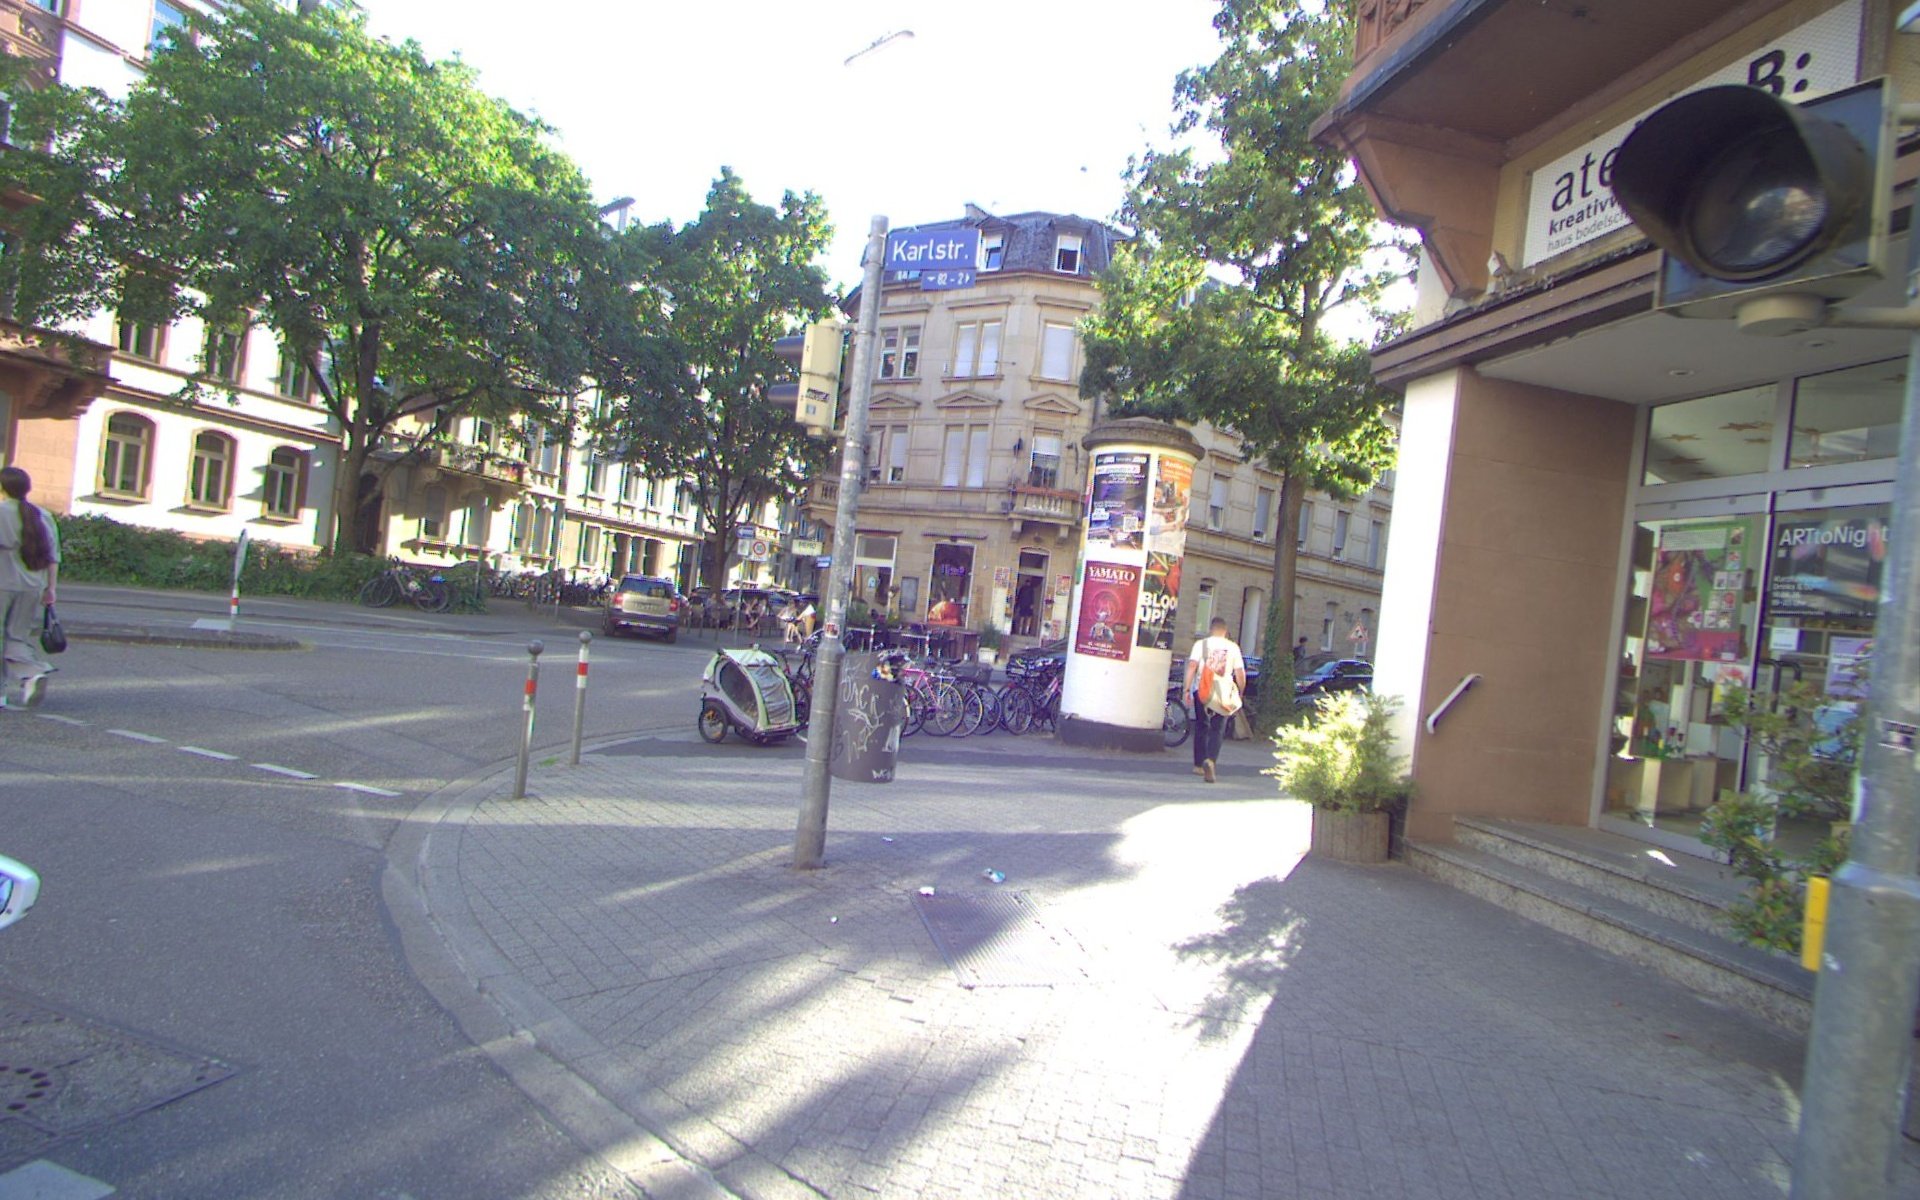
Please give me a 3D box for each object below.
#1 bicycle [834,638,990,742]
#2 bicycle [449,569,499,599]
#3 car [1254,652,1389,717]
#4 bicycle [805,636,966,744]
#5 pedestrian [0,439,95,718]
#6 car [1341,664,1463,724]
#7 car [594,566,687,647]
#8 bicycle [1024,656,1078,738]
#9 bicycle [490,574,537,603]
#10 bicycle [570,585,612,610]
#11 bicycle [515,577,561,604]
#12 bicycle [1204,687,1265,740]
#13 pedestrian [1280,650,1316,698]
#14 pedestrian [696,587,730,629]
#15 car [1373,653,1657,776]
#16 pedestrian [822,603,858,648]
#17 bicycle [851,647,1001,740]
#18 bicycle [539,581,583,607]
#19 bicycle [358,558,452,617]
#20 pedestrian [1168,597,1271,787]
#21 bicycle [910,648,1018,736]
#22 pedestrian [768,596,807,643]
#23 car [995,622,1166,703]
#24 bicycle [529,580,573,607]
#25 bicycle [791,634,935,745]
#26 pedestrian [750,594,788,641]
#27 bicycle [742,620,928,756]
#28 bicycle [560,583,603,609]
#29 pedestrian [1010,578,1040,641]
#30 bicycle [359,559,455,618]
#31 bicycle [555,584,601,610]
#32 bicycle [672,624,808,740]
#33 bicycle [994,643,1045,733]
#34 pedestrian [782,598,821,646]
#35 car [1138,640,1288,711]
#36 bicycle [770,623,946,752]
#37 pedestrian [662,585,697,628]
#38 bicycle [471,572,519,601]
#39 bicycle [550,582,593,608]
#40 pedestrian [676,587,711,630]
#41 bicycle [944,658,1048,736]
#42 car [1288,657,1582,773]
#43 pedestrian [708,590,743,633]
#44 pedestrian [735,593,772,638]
[{"bbox_3d":[-0.625,1.132,12.907,1.885,1.112,0.450,5,0,21],"label":"bicycle"},{"bbox_3d":[-18.200,-0.587,37.658,1.764,0.904,0.493,6,0,19],"label":"bicycle"},{"bbox_3d":[11.280,2.646,31.352,3.958,1.593,1.789,7,-1,-32],"label":"car"},{"bbox_3d":[-0.928,1.083,12.390,1.885,1.112,0.450,5,0,21],"label":"bicycle"},{"bbox_3d":[-6.836,-0.168,7.249,0.660,1.934,0.690,8,3,37],"label":"pedestrian"},{"bbox_3d":[15.199,3.242,34.541,3.958,1.593,1.789,7,-1,-32],"label":"car"},{"bbox_3d":[-8.538,0.114,26.901,1.972,1.638,3.982,9,0,-18],"label":"car"},{"bbox_3d":[1.354,1.429,15.129,0.442,1.099,1.404,5,-1,-6],"label":"bicycle"},{"bbox_3d":[-17.509,-0.458,39.421,1.764,0.904,0.493,6,0,19],"label":"bicycle"},{"bbox_3d":[-16.254,-0.127,44.280,1.764,0.904,0.493,6,0,19],"label":"bicycle"},{"bbox_3d":[-17.157,-0.375,40.895,1.764,0.904,0.493,6,0,19],"label":"bicycle"},{"bbox_3d":[4.569,1.874,16.723,1.128,0.768,0.394,1,3,-41],"label":"bicycle"},{"bbox_3d":[12.908,2.818,38.436,0.758,1.759,0.906,2,3,-36],"label":"pedestrian"},{"bbox_3d":[-8.992,0.301,36.630,0.907,1.448,0.757,2,3,-41],"label":"pedestrian"},{"bbox_3d":[10.593,2.145,19.452,1.986,1.667,4.264,7,-1,-41],"label":"car"},{"bbox_3d":[-4.038,0.857,33.905,0.759,1.448,0.904,2,3,-43],"label":"pedestrian"},{"bbox_3d":[-0.456,1.214,13.345,1.885,1.012,0.450,5,0,21],"label":"bicycle"},{"bbox_3d":[-16.850,-0.246,42.510,1.764,0.904,0.493,6,0,19],"label":"bicycle"},{"bbox_3d":[-13.428,-0.290,24.349,1.848,1.176,0.554,7,1,-36],"label":"bicycle"},{"bbox_3d":[2.774,0.969,10.717,0.793,1.820,1.093,7,-2,17],"label":"pedestrian"},{"bbox_3d":[0.049,1.270,14.061,1.381,1.055,0.450,5,0,29],"label":"bicycle"},{"bbox_3d":[-5.574,0.639,32.422,0.907,1.448,0.757,2,3,-41],"label":"pedestrian"},{"bbox_3d":[3.098,1.605,25.700,3.958,1.593,1.789,7,-1,-32],"label":"car"},{"bbox_3d":[-17.021,-0.282,41.854,1.764,0.904,0.493,6,0,19],"label":"bicycle"},{"bbox_3d":[-1.153,1.037,11.923,1.581,1.125,0.450,5,0,21],"label":"bicycle"},{"bbox_3d":[-6.291,0.580,33.203,0.907,1.448,0.757,2,3,-40],"label":"pedestrian"},{"bbox_3d":[-1.363,0.926,10.901,1.885,1.238,0.505,5,0,21],"label":"bicycle"},{"bbox_3d":[-16.437,-0.165,43.664,1.764,0.904,0.493,6,0,19],"label":"bicycle"},{"bbox_3d":[2.169,0.321,33.713,0.726,1.990,0.729,6,0,-1],"label":"pedestrian"},{"bbox_3d":[-13.093,-0.266,23.856,1.848,1.176,0.554,7,1,-36],"label":"bicycle"},{"bbox_3d":[-15.798,-0.110,41.642,0.485,0.904,1.794,6,-1,31],"label":"bicycle"},{"bbox_3d":[-2.278,0.832,10.450,1.044,1.057,0.779,5,-1,26],"label":"bicycle"},{"bbox_3d":[0.889,1.312,15.342,0.442,1.238,1.404,5,-1,-6],"label":"bicycle"},{"bbox_3d":[-5.007,0.685,31.790,0.907,1.448,0.757,2,3,-40],"label":"pedestrian"},{"bbox_3d":[7.261,2.171,28.796,3.958,1.593,1.789,7,-1,-32],"label":"car"},{"bbox_3d":[-1.163,0.963,11.382,1.885,1.238,0.450,5,0,21],"label":"bicycle"},{"bbox_3d":[-9.988,0.237,35.836,0.907,1.448,0.757,2,3,-41],"label":"pedestrian"},{"bbox_3d":[-17.835,-0.519,38.597,1.764,0.904,0.493,6,0,19],"label":"bicycle"},{"bbox_3d":[-16.664,-0.206,43.160,1.764,0.904,0.493,6,0,19],"label":"bicycle"},{"bbox_3d":[-9.294,0.294,35.082,0.907,1.448,0.757,2,3,-40],"label":"pedestrian"},{"bbox_3d":[0.516,1.386,14.540,1.381,0.961,0.450,5,0,29],"label":"bicycle"},{"bbox_3d":[8.409,2.000,18.098,1.986,1.370,4.264,7,-1,-41],"label":"car"},{"bbox_3d":[-8.318,0.415,35.709,0.907,1.448,0.757,2,3,-40],"label":"pedestrian"},{"bbox_3d":[-6.970,0.526,33.970,0.907,1.448,0.757,2,3,-41],"label":"pedestrian"}]
